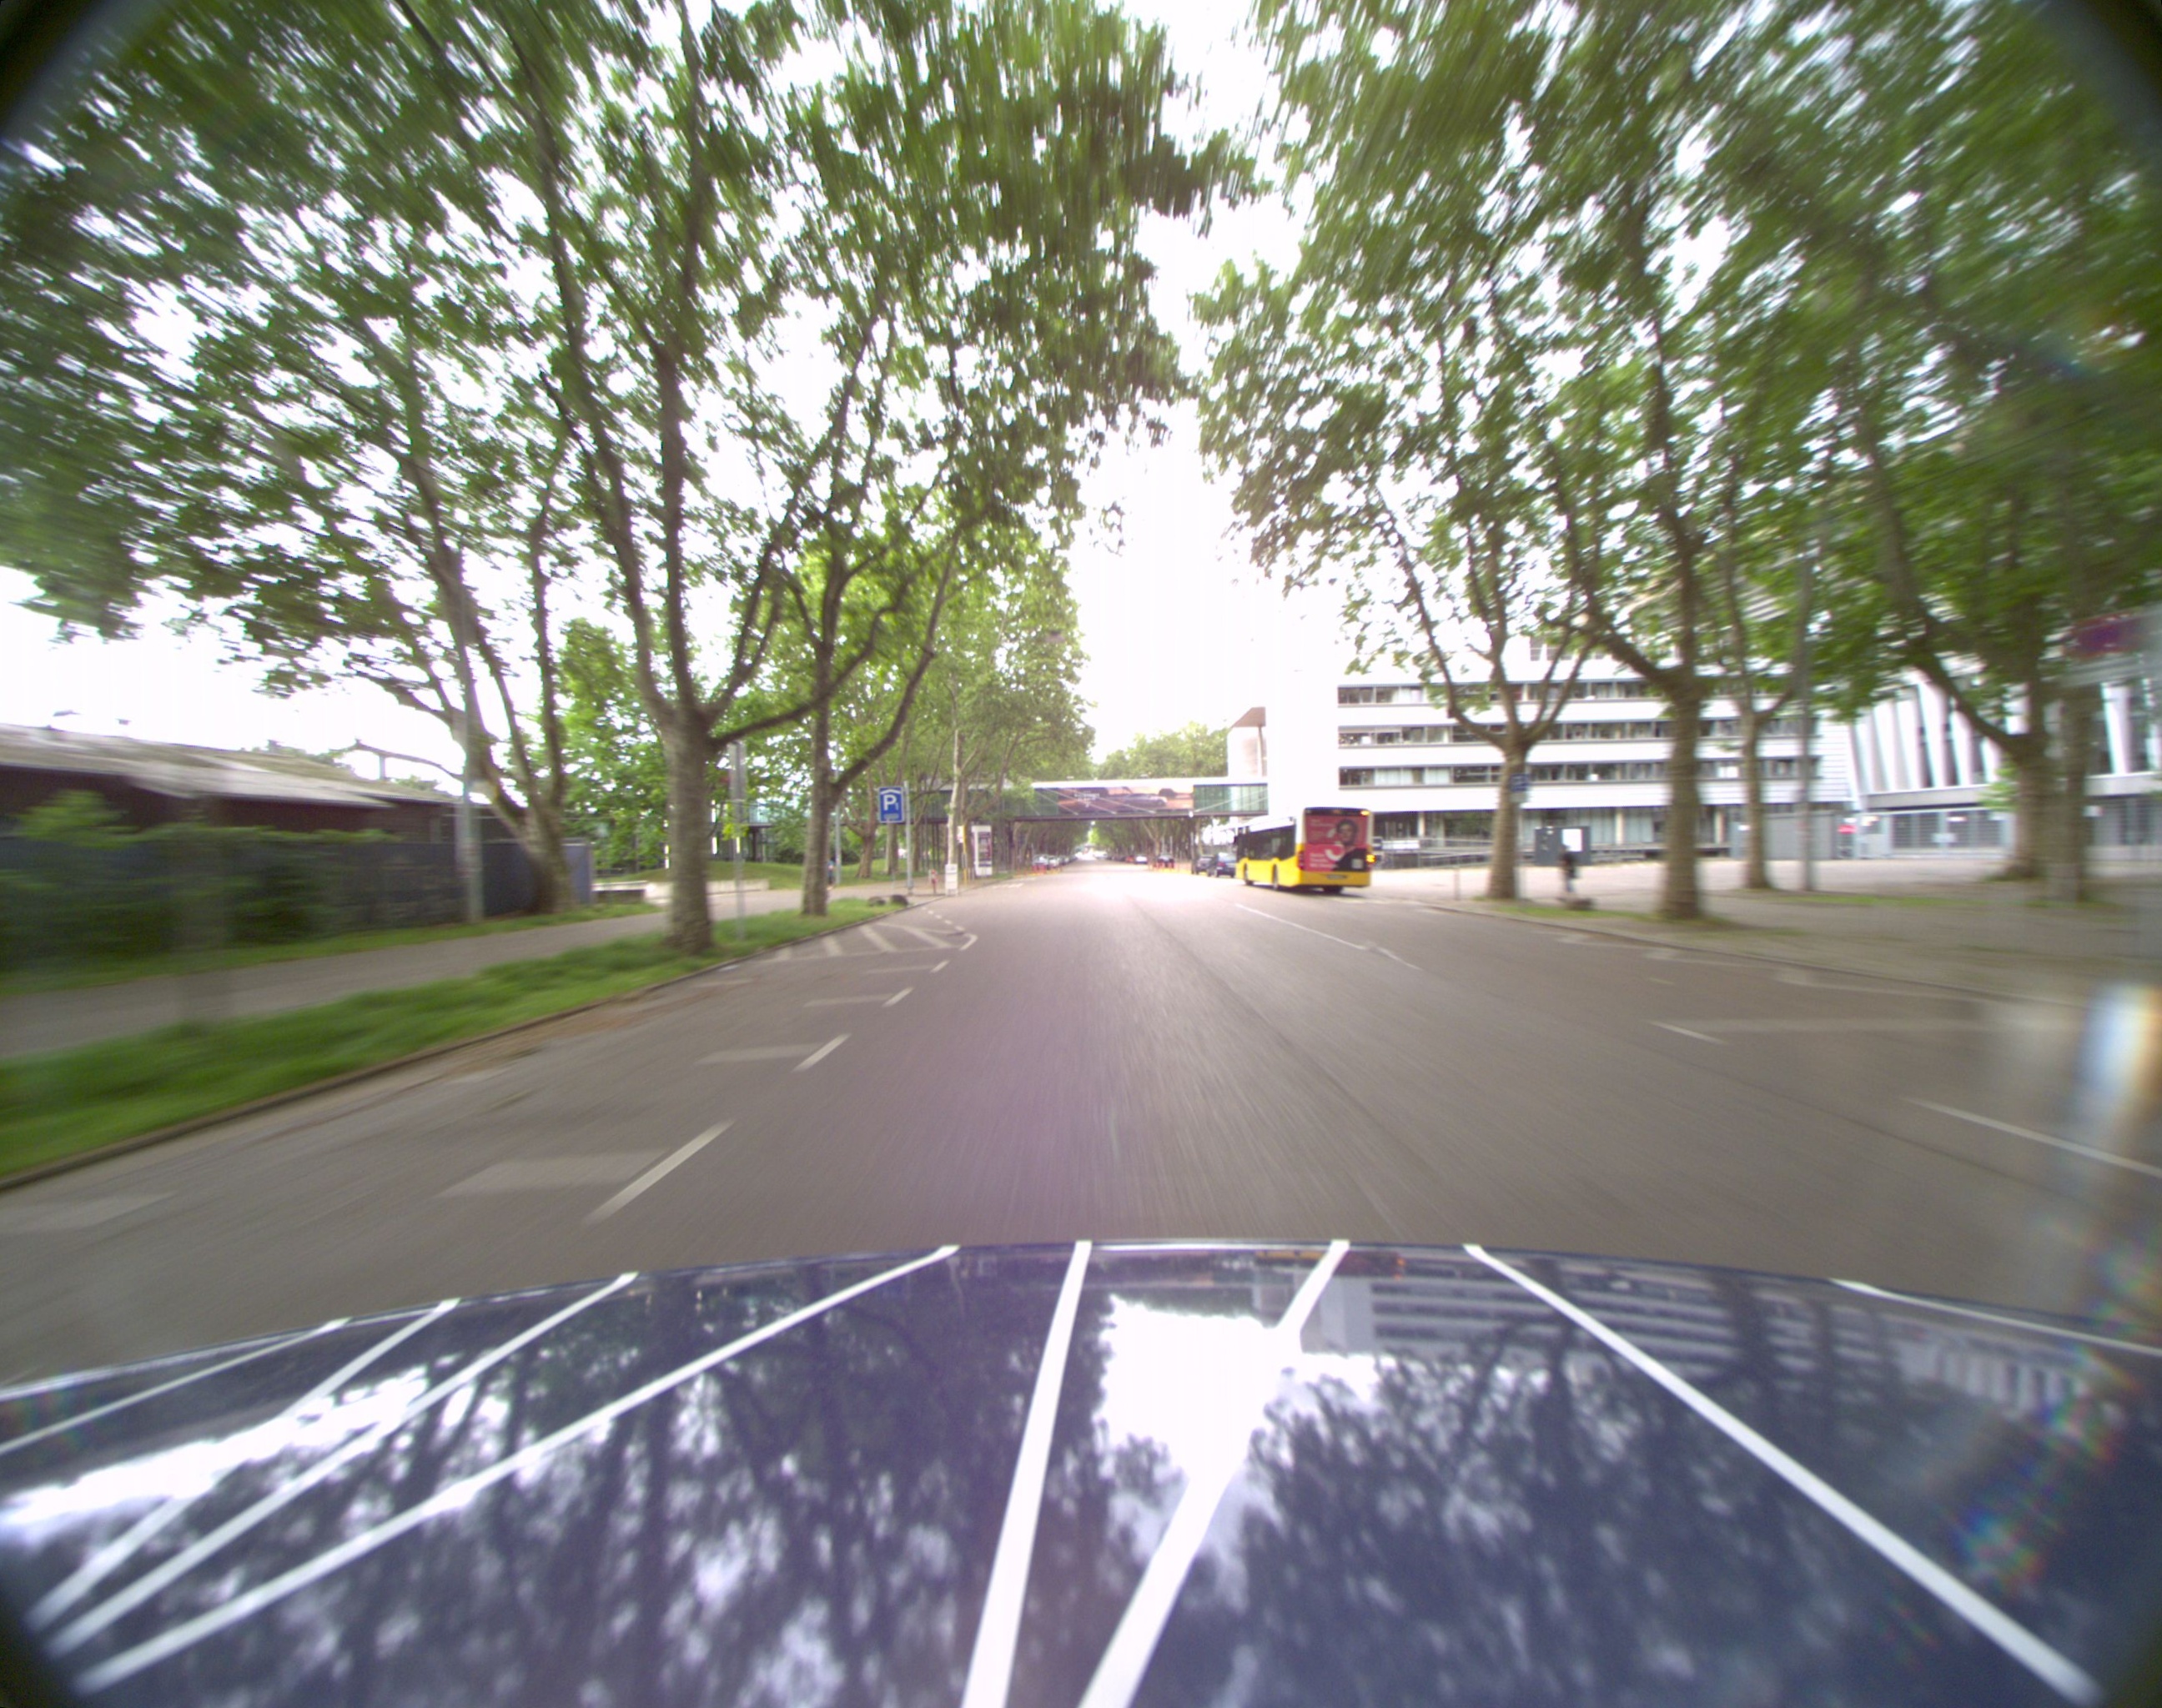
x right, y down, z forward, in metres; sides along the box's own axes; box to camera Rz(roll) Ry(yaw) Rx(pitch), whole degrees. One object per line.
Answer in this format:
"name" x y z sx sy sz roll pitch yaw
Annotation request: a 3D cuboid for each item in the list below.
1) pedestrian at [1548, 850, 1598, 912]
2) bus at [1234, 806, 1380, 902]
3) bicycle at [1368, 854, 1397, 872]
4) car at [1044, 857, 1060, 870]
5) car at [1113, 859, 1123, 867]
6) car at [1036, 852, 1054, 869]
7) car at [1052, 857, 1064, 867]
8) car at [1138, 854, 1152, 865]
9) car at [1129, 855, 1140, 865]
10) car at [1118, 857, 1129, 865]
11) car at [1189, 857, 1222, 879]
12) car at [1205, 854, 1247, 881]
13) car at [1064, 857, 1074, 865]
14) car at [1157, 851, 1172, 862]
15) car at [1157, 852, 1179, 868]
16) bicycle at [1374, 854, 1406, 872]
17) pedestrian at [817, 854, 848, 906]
"pedestrian" 12.972 0.702 20.063 0.663 1.580 0.912 -3 1 0
"bus" 8.736 -0.027 31.402 2.658 3.136 12.369 1 0 2
"bicycle" 21.177 0.609 53.431 1.830 1.180 0.470 -3 1 -2
"car" -3.746 1.210 99.141 1.921 1.561 4.497 -1 0 -1
"car" 8.218 1.995 169.479 1.921 1.561 4.497 -1 0 -1
"car" -3.856 0.664 82.583 1.757 1.687 4.497 -1 0 -1
"car" -3.643 1.227 122.168 1.921 1.561 4.497 -1 0 -1
"car" 9.720 0.810 114.989 1.757 1.652 4.000 -3 0 1
"car" 9.795 1.156 139.616 1.757 1.652 4.000 -3 0 2
"car" 8.720 1.507 157.935 1.921 1.561 4.497 -1 0 -1
"car" 9.421 1.014 57.747 1.758 1.505 4.009 2 0 0
"car" 9.272 0.832 49.064 1.758 1.557 4.386 3 0 -1
"car" -2.320 1.337 146.910 1.921 1.561 4.497 -1 0 -1
"car" 11.702 0.315 106.152 1.662 1.461 3.803 2 0 0
"car" 9.856 0.644 86.197 1.929 1.720 4.233 2 0 0
"bicycle" 21.265 0.611 52.302 1.918 1.180 0.569 -3 1 -2
"pedestrian" -9.790 1.016 29.939 0.710 2.002 0.882 -3 1 10
